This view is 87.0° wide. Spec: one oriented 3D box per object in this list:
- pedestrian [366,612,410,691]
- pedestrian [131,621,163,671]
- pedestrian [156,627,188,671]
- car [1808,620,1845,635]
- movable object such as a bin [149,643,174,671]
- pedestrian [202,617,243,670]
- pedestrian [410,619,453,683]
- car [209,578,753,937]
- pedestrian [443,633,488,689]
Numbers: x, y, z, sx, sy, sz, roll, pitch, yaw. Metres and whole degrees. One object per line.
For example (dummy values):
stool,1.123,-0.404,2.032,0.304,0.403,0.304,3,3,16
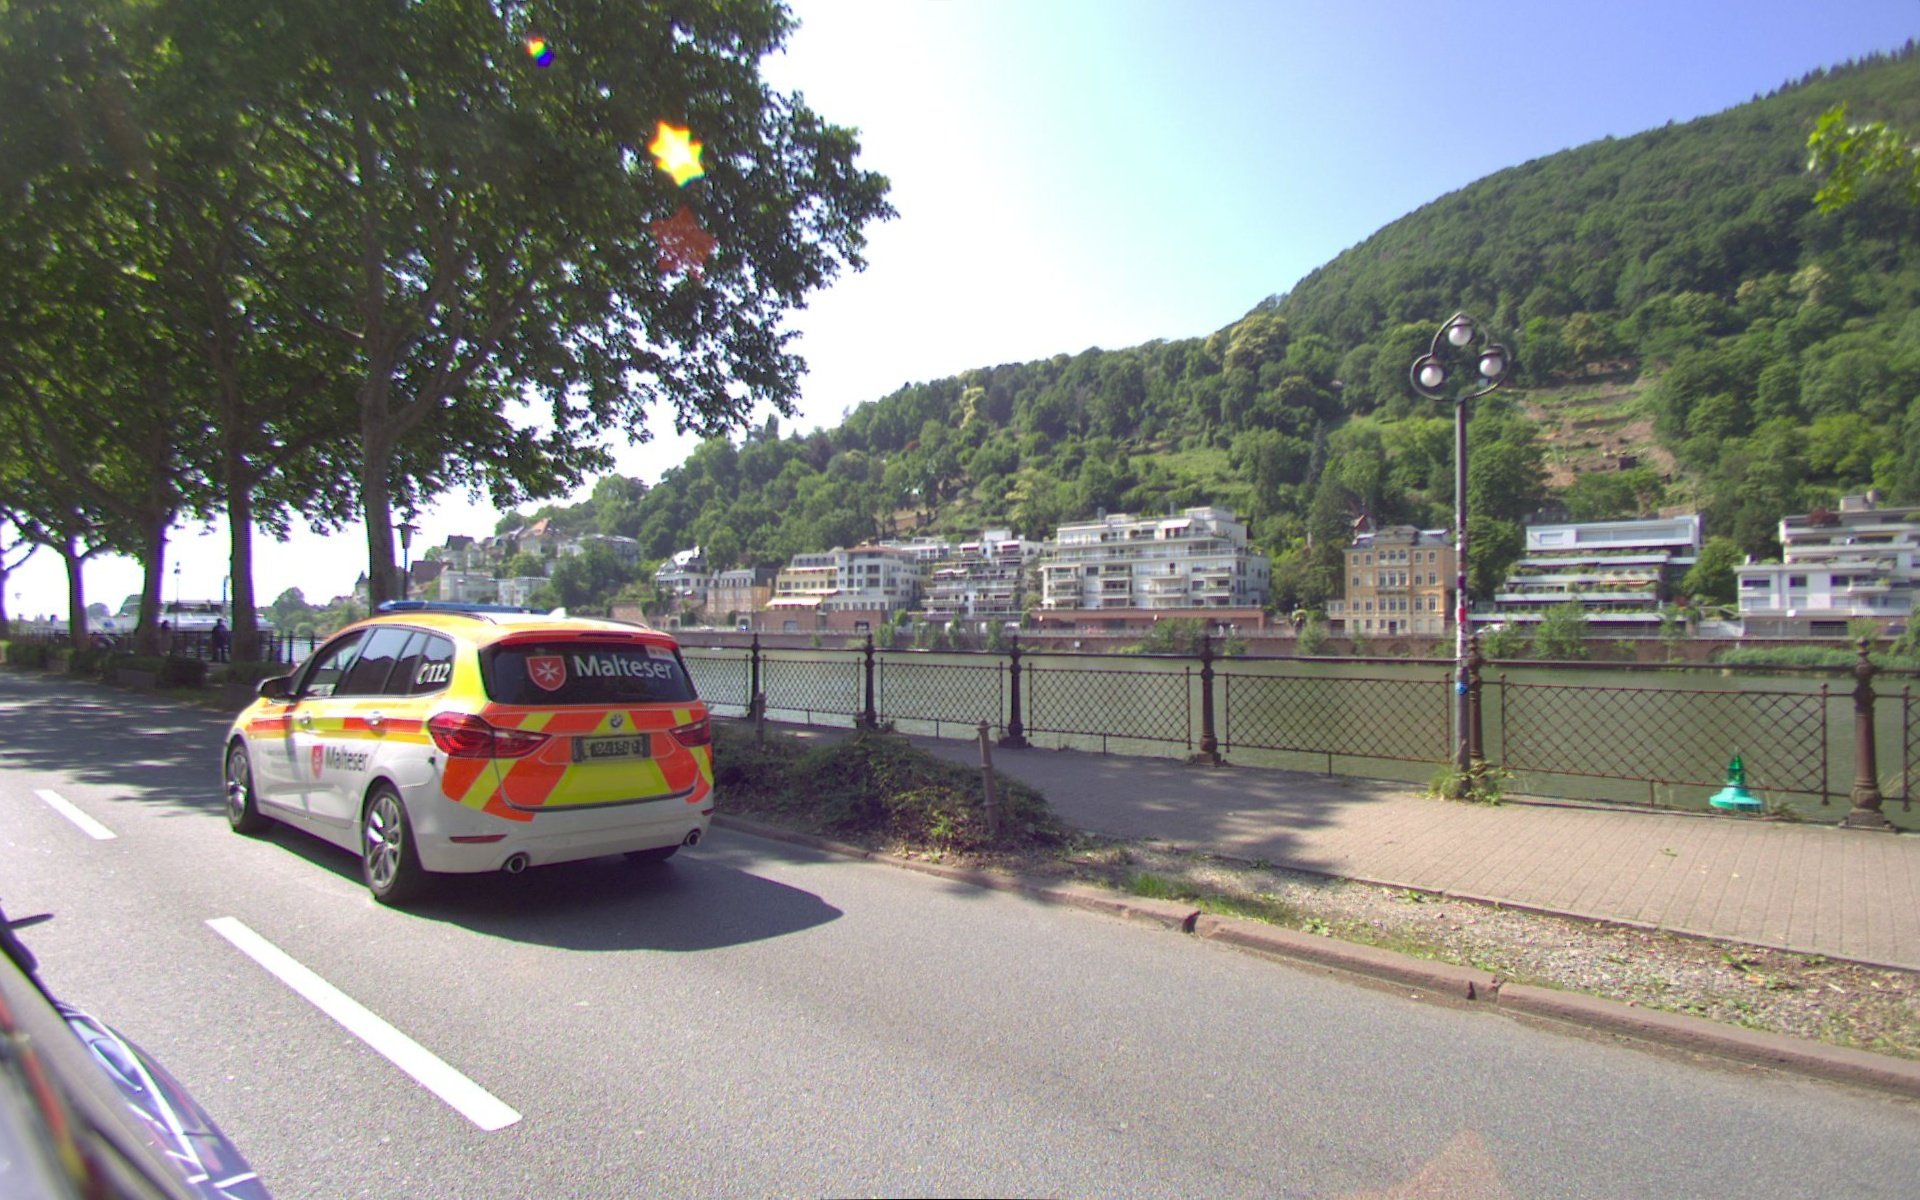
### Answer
pedestrian,-14.288,1.286,25.280,0.756,1.915,0.771,3,-4,-42
pedestrian,-31.123,1.753,38.719,0.928,1.863,0.796,-1,0,41
pedestrian,-30.789,1.901,39.546,0.885,1.647,1.060,0,0,-44
car,126.029,4.054,147.287,3.998,2.029,1.973,-3,-2,41
movable object such as a bin,-31.361,2.221,39.751,0.783,1.057,0.694,-1,0,44
pedestrian,-29.383,1.708,40.342,1.032,2.029,1.038,-1,0,-19
pedestrian,-15.093,1.457,28.916,0.829,1.771,0.767,-2,-4,40
car,-3.388,0.832,6.760,4.220,1.673,1.656,-2,-5,41
pedestrian,-12.585,1.541,25.747,0.770,1.398,0.758,-2,-3,40
